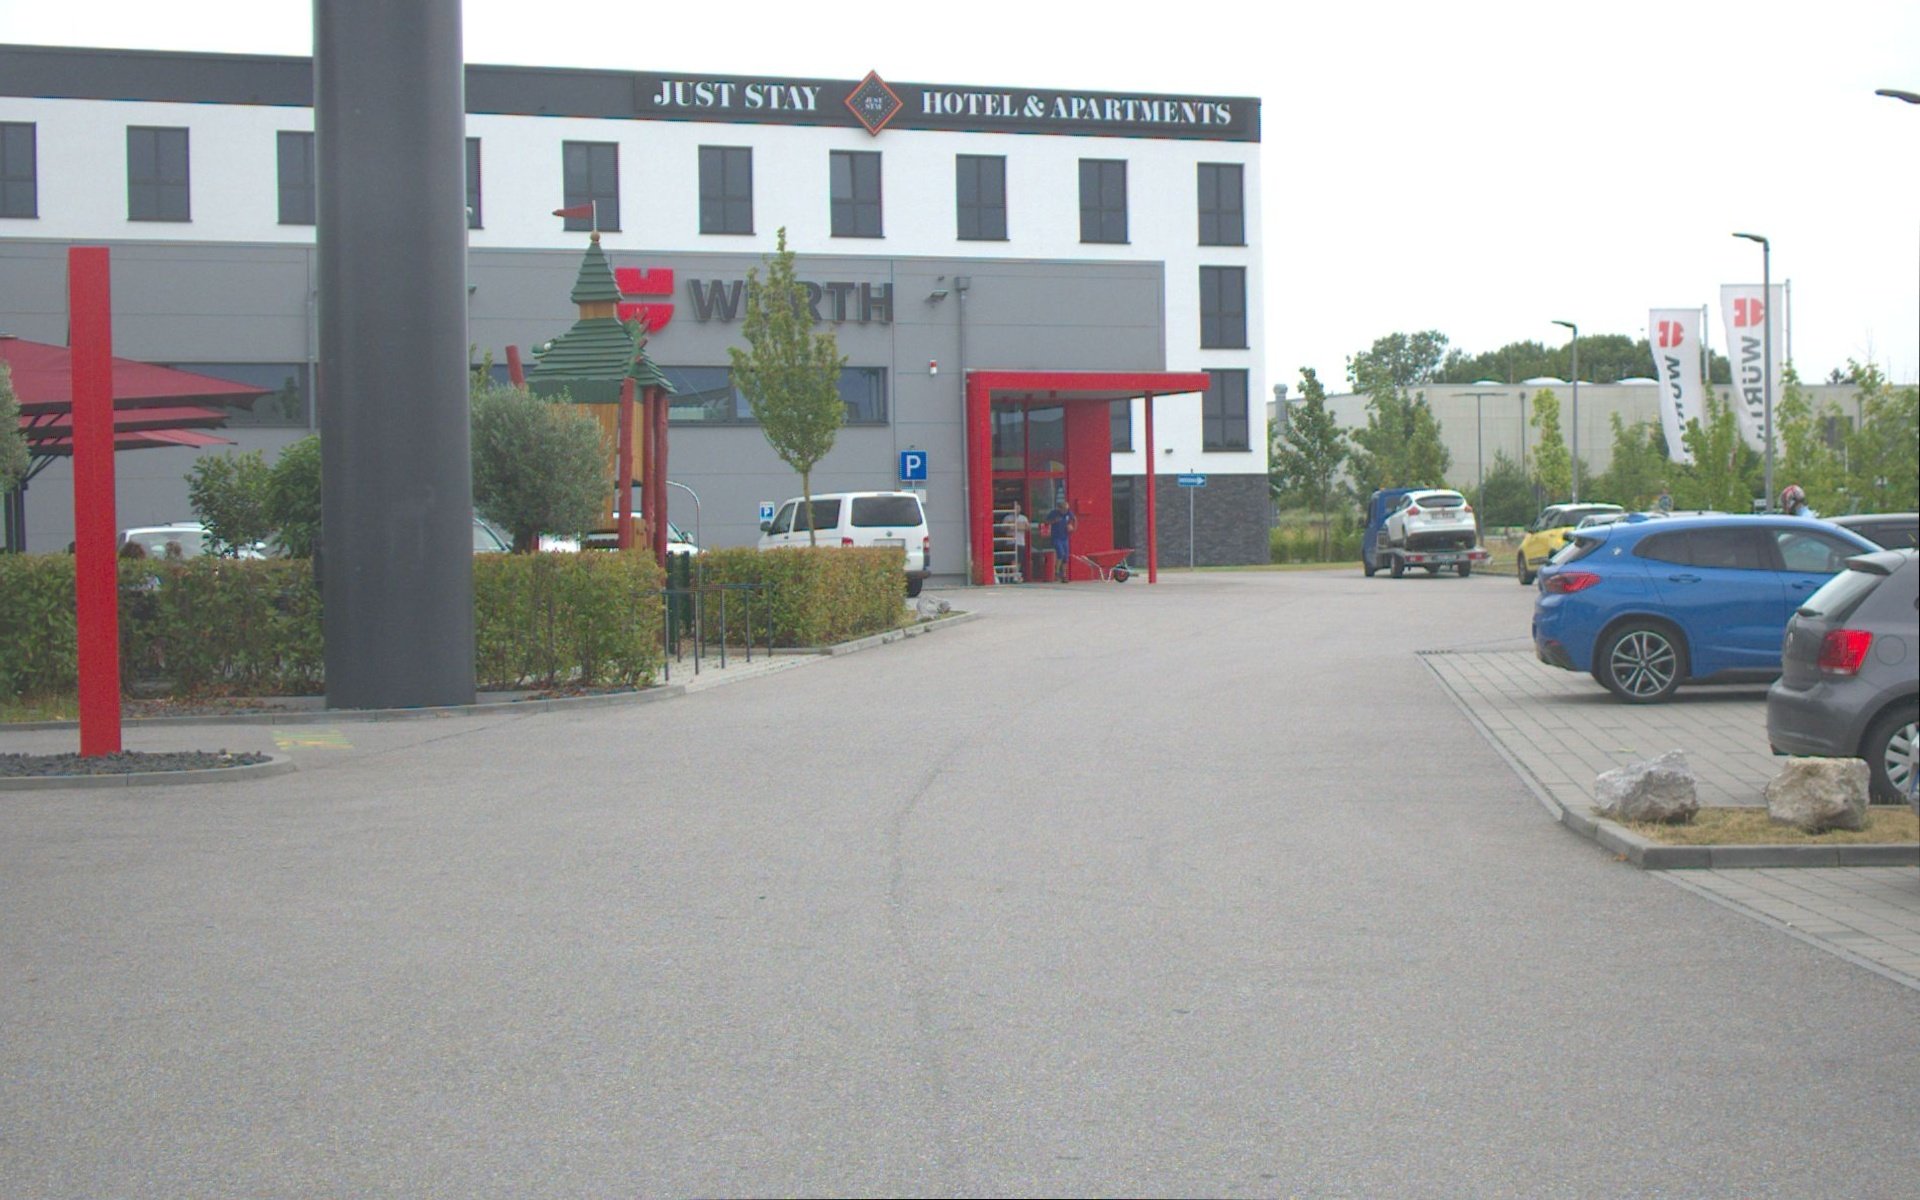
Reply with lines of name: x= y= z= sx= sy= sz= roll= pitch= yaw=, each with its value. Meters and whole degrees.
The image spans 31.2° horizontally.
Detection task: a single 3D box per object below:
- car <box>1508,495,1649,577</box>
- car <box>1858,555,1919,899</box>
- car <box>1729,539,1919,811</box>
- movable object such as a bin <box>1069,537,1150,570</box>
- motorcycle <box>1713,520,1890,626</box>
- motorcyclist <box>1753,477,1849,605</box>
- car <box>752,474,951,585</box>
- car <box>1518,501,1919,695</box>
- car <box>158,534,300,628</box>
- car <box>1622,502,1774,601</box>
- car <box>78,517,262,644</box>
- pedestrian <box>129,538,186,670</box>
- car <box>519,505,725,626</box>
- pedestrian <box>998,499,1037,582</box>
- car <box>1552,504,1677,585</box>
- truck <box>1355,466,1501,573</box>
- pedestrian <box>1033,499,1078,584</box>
car: x=12.856 y=-1.328 z=71.702 sx=1.856 sy=1.644 sz=4.001 roll=0 pitch=1 yaw=-6
car: x=5.937 y=0.549 z=14.300 sx=3.927 sy=1.407 sz=1.840 roll=1 pitch=1 yaw=2
car: x=6.386 y=0.393 z=18.927 sx=3.987 sy=1.423 sz=1.727 roll=0 pitch=1 yaw=5
movable object such as a bin: x=3.186 y=-0.989 z=73.533 sx=1.488 sy=0.701 sz=0.965 roll=0 pitch=1 yaw=-17
motorcycle: x=10.014 y=-0.324 z=40.956 sx=1.915 sy=1.204 sz=0.795 roll=-1 pitch=1 yaw=3
motorcyclist: x=10.015 y=-0.699 z=40.943 sx=0.938 sy=1.483 sz=0.830 roll=-1 pitch=1 yaw=3
car: x=-2.091 y=-1.319 z=65.086 sx=2.055 sy=1.849 sz=4.062 roll=-6 pitch=3 yaw=-27
car: x=6.848 y=-0.039 z=28.754 sx=4.203 sy=1.539 sz=1.864 roll=-1 pitch=1 yaw=7
car: x=-13.123 y=-0.343 z=61.567 sx=1.736 sy=1.546 sz=4.265 roll=-3 pitch=1 yaw=-22
car: x=11.398 y=-0.775 z=53.345 sx=1.752 sy=1.464 sz=4.475 roll=0 pitch=1 yaw=5
car: x=-11.373 y=-0.289 z=49.268 sx=1.993 sy=1.645 sz=4.579 roll=-3 pitch=1 yaw=-19
pedestrian: x=-7.395 y=0.032 z=31.690 sx=0.419 sy=1.195 sz=0.457 roll=-3 pitch=1 yaw=-9
car: x=-5.146 y=-0.516 z=51.779 sx=1.993 sy=1.645 sz=4.579 roll=-3 pitch=1 yaw=-19
pedestrian: x=1.225 y=-1.262 z=73.323 sx=0.623 sy=1.745 sz=0.906 roll=-1 pitch=1 yaw=-12
car: x=12.393 y=-1.073 z=65.318 sx=1.751 sy=1.464 sz=4.107 roll=-1 pitch=1 yaw=2
truck: x=11.942 y=-2.011 z=88.284 sx=2.331 sy=2.398 sz=7.896 roll=0 pitch=-1 yaw=-3
pedestrian: x=2.028 y=-1.253 z=73.304 sx=0.676 sy=1.796 sz=0.880 roll=1 pitch=2 yaw=-17
